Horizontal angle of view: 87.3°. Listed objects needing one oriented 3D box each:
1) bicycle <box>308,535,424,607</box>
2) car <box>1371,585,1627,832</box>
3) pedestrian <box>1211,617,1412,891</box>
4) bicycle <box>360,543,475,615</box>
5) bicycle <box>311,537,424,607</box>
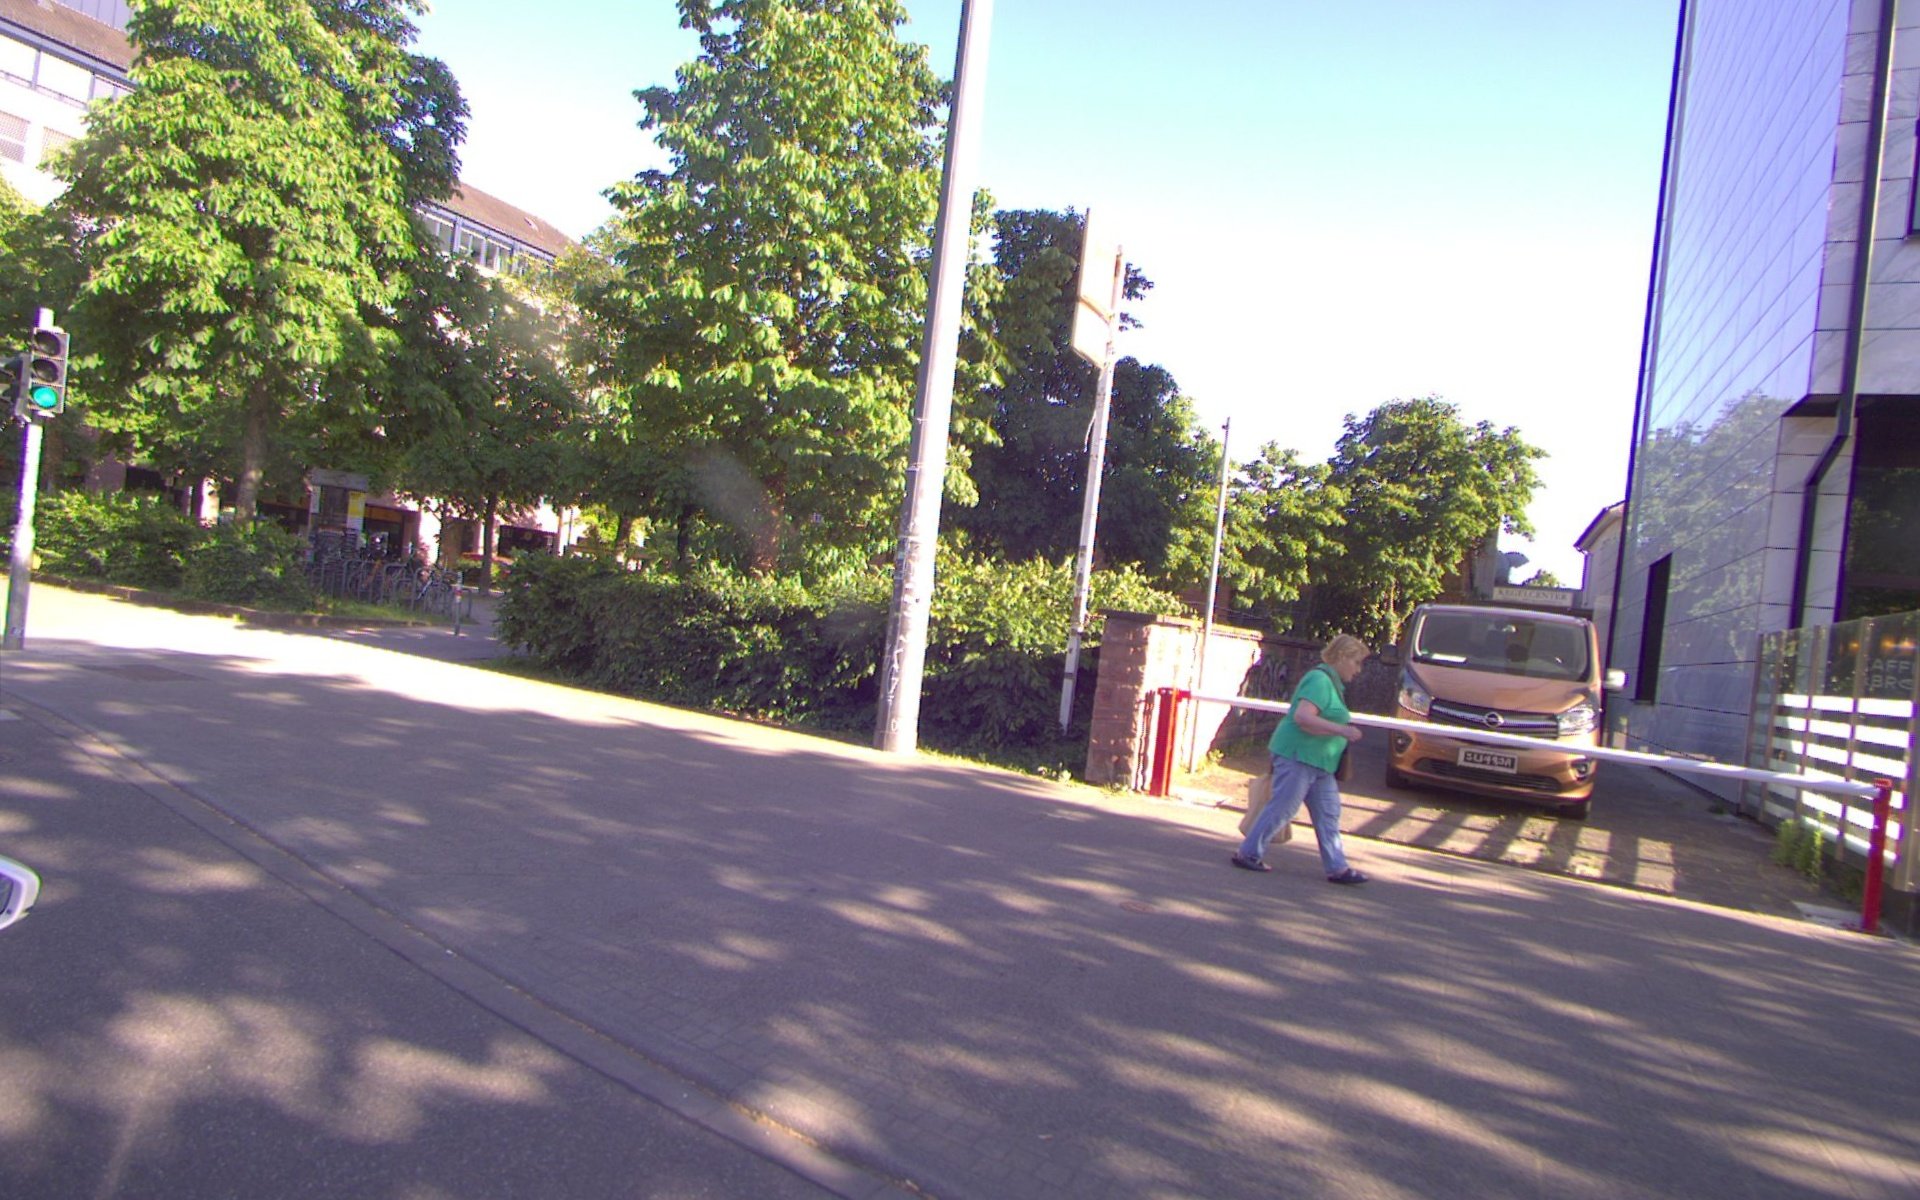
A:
[{"bbox_3d":[-12.376,-0.574,21.016,0.564,1.331,1.998,6,1,30],"label":"bicycle"},{"bbox_3d":[6.012,1.006,11.397,1.880,2.011,4.902,6,2,28],"label":"car"},{"bbox_3d":[2.223,0.950,6.444,0.818,1.595,0.737,5,1,-11],"label":"pedestrian"},{"bbox_3d":[-11.134,-0.405,20.719,0.564,1.331,1.998,6,1,30],"label":"bicycle"},{"bbox_3d":[-12.708,-0.575,21.655,0.564,1.331,1.998,6,1,30],"label":"bicycle"}]
